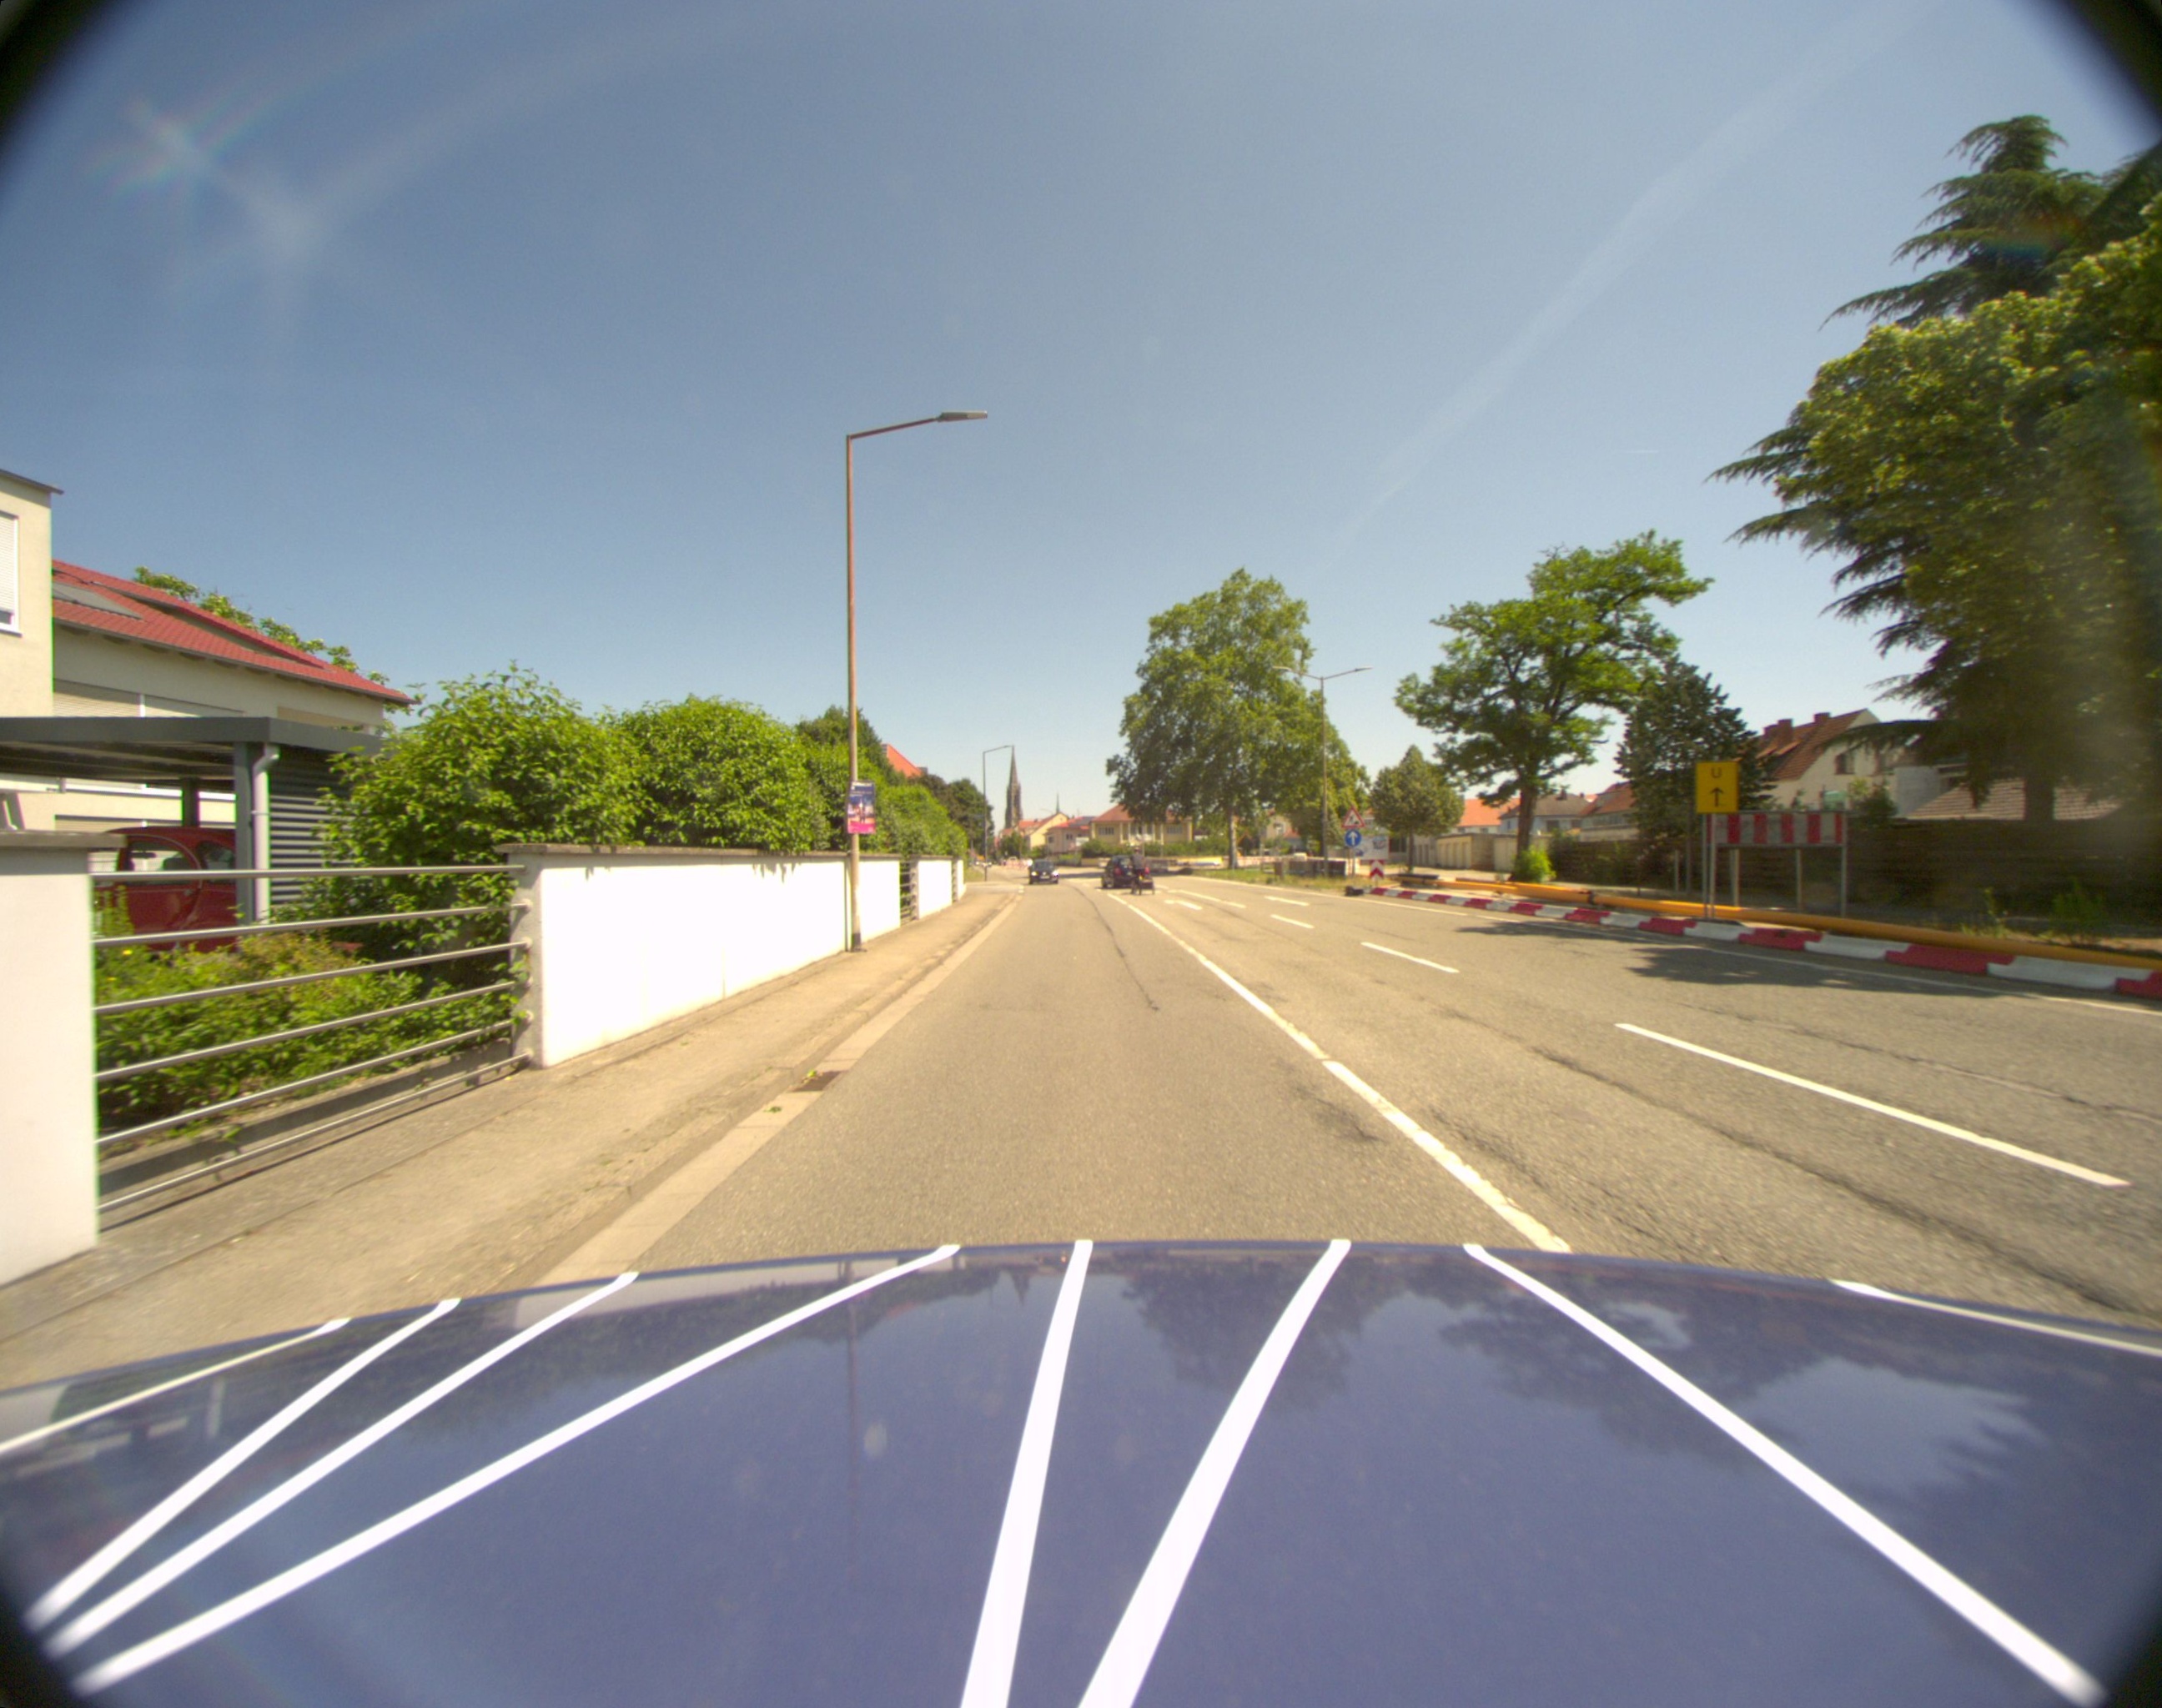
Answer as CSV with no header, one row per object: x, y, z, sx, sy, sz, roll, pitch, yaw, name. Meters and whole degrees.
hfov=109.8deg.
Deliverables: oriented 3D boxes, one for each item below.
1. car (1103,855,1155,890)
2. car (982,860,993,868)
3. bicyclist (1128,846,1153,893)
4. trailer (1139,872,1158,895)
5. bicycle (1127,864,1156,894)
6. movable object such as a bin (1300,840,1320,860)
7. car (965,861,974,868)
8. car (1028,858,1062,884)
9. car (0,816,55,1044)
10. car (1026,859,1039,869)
2.252,0.838,36.622,1.731,1.523,3.828,-3,0,-7,car
-17.317,1.846,140.521,1.713,1.449,3.560,-1,0,-13,car
2.424,0.634,30.980,0.848,1.855,0.976,-2,1,-4,bicyclist
2.608,1.145,29.456,0.572,0.851,1.132,-1,0,-4,trailer
2.436,0.998,31.008,0.853,1.159,1.976,-2,0,-4,bicycle
31.591,-0.529,104.895,2.274,2.719,3.934,-1,0,10,movable object such as a bin
-22.372,2.127,152.537,1.608,1.403,3.906,-3,0,-10,car
-2.219,0.991,45.374,1.608,1.436,3.906,-3,0,-8,car
-8.116,0.506,4.370,2.628,1.432,1.282,-1,0,0,car
-7.596,1.527,119.389,1.704,1.501,3.456,-3,0,-9,car
